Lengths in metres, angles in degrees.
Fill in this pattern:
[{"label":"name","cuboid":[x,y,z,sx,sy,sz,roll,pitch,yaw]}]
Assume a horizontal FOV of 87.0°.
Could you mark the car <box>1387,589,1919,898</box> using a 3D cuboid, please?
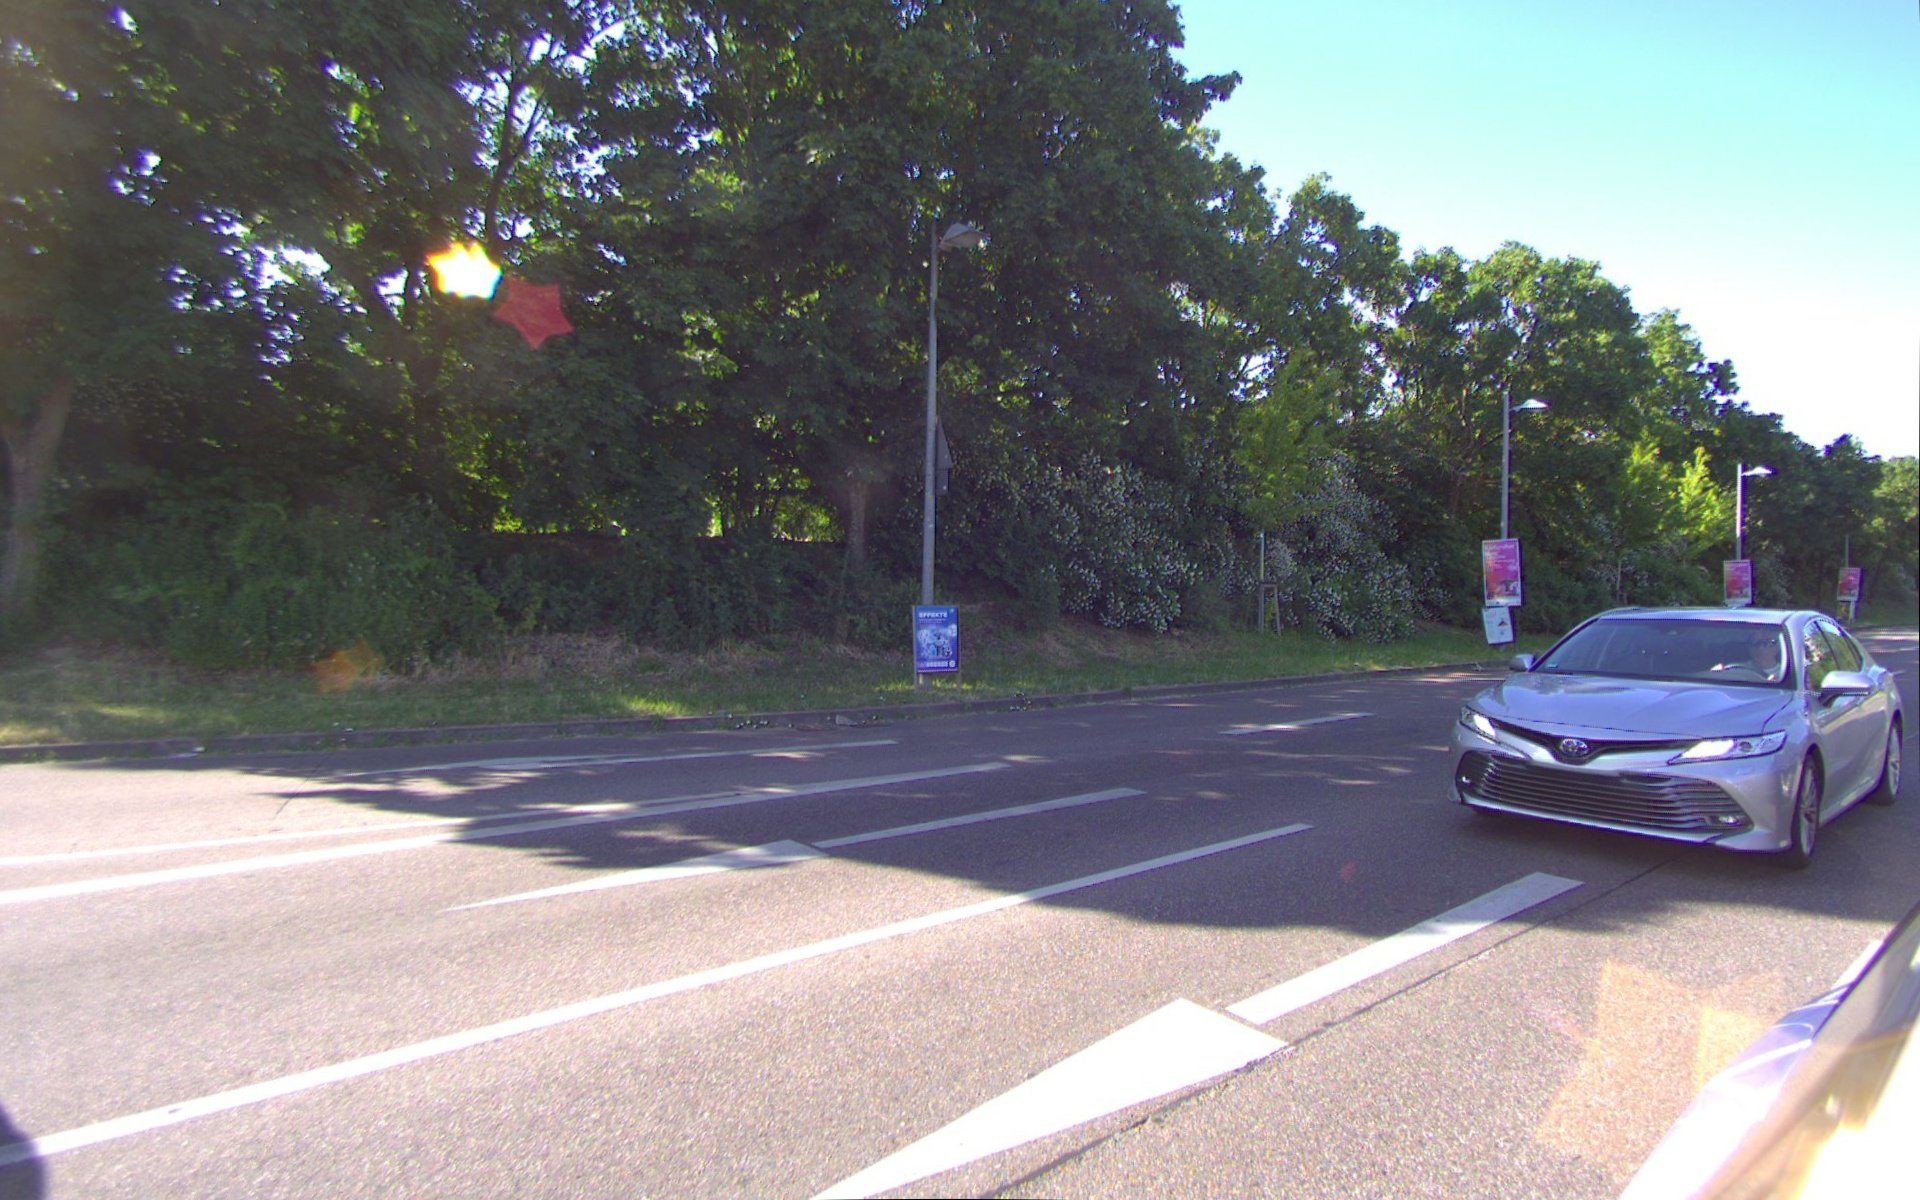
[{"label":"car","cuboid":[5.221,0.688,7.260,4.664,1.477,2.069,0,2,-40]}]
